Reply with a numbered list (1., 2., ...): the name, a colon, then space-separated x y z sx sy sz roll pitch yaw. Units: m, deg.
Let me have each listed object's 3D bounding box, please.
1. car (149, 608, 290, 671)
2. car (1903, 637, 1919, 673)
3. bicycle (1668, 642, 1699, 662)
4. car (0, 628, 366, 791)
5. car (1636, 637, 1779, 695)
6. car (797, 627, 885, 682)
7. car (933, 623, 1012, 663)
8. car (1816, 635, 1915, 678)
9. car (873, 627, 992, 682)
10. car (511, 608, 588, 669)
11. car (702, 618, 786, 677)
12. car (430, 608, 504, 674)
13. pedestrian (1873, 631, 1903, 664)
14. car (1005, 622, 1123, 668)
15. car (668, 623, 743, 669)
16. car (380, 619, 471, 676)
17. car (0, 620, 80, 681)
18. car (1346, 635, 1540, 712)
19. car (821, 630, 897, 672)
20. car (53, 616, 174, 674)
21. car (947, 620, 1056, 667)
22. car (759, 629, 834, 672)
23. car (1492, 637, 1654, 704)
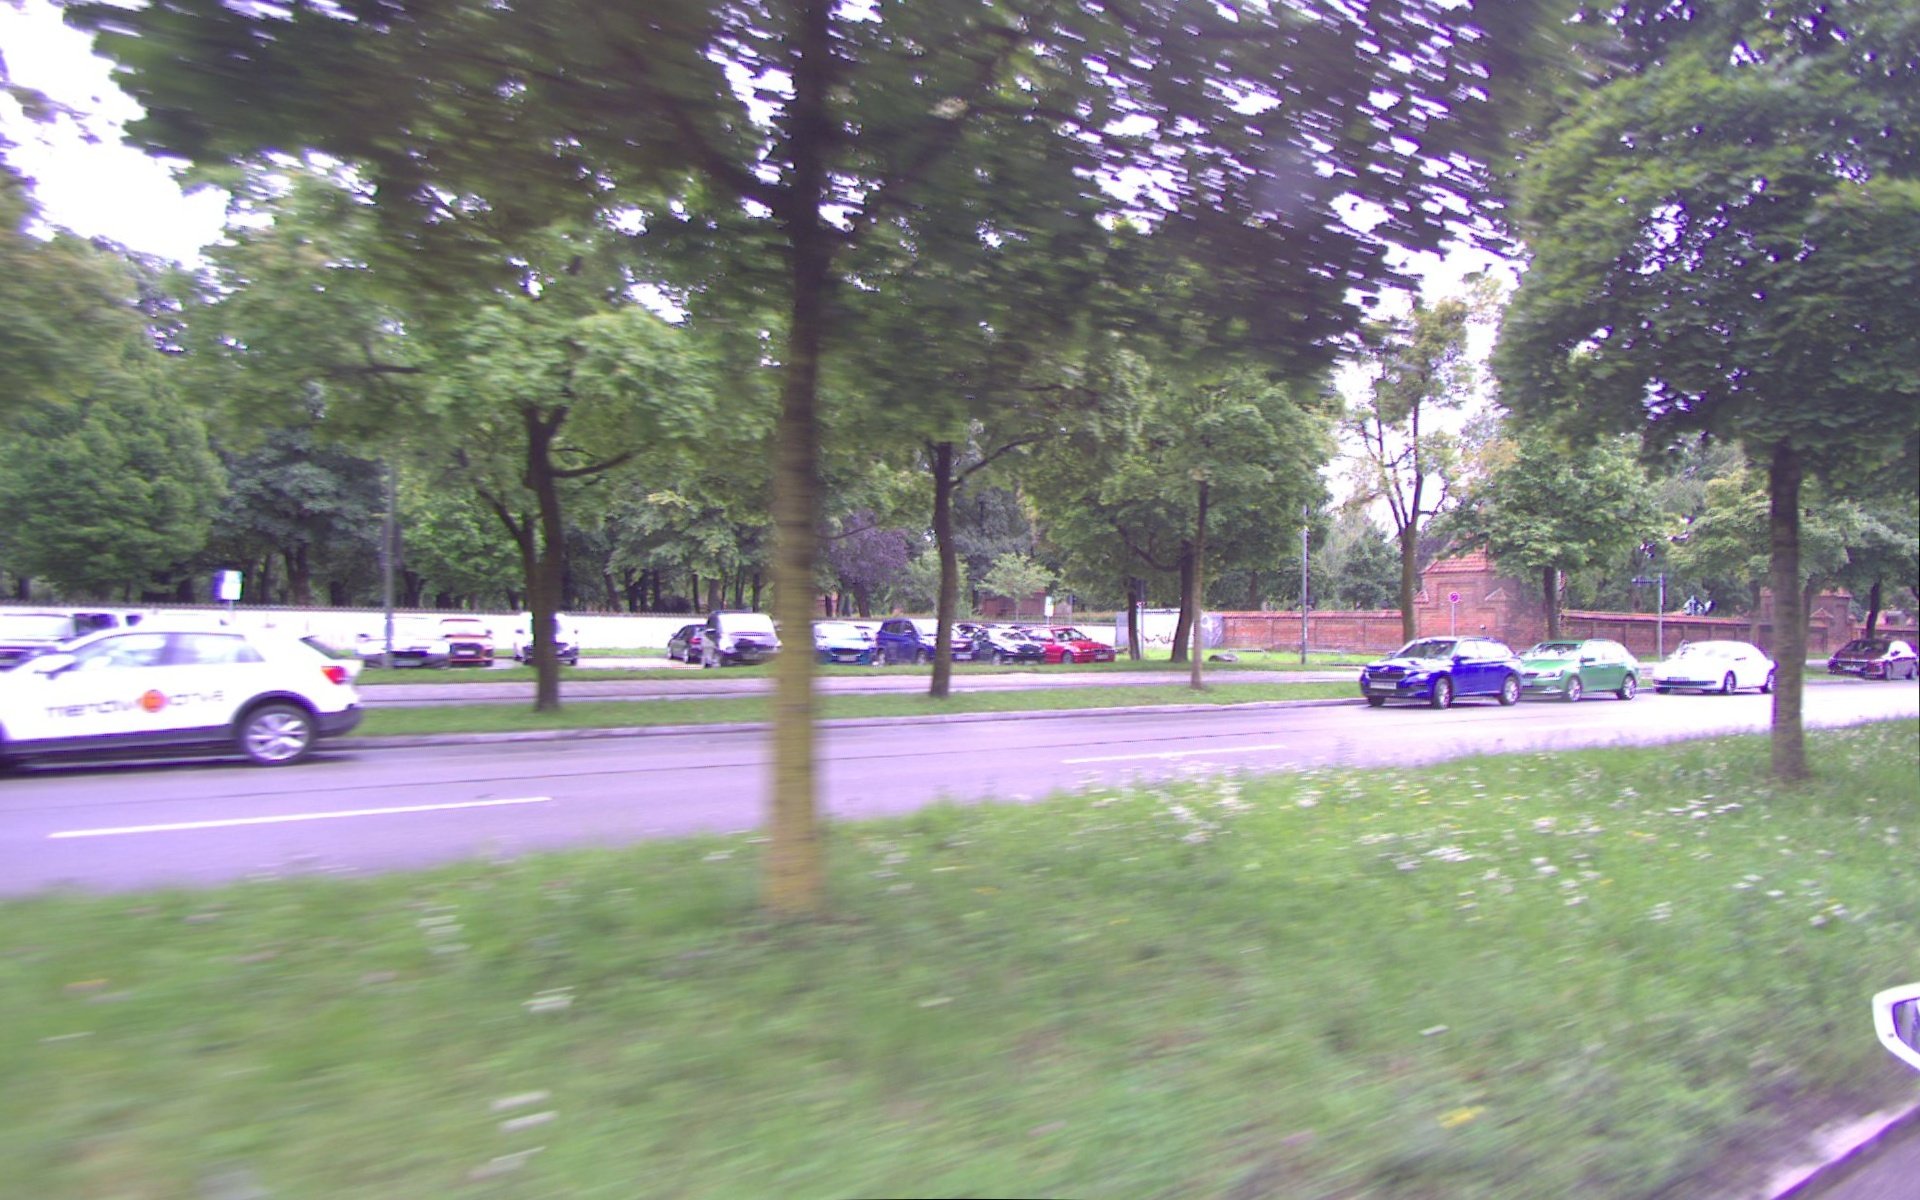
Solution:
1. car: -15.896 0.826 21.763 1.760 1.225 3.973 1 -2 -26
2. car: 44.276 2.482 45.052 4.391 1.557 1.804 1 -1 -32
3. bicycle: 33.864 2.426 47.007 1.602 0.949 0.651 2 -1 -33
4. car: -8.809 1.101 10.825 4.096 1.510 1.847 3 -2 -32
5. car: 21.465 1.870 28.825 4.264 1.557 1.753 1 -4 -31
6. car: -3.643 1.582 30.097 1.968 1.524 3.986 1 -1 -16
7. car: 0.529 1.912 45.531 1.794 1.557 3.967 1 0 -30
8. car: 35.965 2.203 39.862 4.250 1.557 1.804 1 -1 -32
9. car: -0.934 1.626 30.864 1.975 1.524 4.332 1 -2 -28
10. car: -14.983 1.356 36.561 1.977 2.061 4.484 1 -1 -30
11. car: -6.083 1.274 27.973 1.968 1.524 3.986 1 -1 -16
12. car: -17.206 1.361 34.937 1.977 2.061 4.483 1 0 -30
13. pedestrian: 45.329 2.304 49.056 0.778 1.588 0.777 1 -1 6
14. car: 3.401 1.474 33.774 1.738 1.410 4.394 1 -2 -29
15. car: -9.992 1.766 39.229 1.794 1.557 3.967 1 0 -30
16. car: -12.732 1.086 24.121 1.760 1.225 4.159 1 -2 -26
17. car: -27.168 1.402 28.860 1.746 1.617 3.975 1 -1 -25
18. car: 10.748 1.577 22.292 4.267 1.557 1.877 1 -4 -32
19. car: -4.396 2.136 43.228 1.794 1.557 3.967 1 0 -30
20. car: -25.371 1.304 30.251 1.746 1.617 3.975 1 -1 -25
21. car: 1.271 1.384 32.742 1.738 1.410 3.959 1 -2 -29
22. car: -6.862 2.055 41.920 1.794 1.557 3.967 1 0 -30
23. car: 15.301 1.716 25.032 4.264 1.557 1.631 1 -4 -31
